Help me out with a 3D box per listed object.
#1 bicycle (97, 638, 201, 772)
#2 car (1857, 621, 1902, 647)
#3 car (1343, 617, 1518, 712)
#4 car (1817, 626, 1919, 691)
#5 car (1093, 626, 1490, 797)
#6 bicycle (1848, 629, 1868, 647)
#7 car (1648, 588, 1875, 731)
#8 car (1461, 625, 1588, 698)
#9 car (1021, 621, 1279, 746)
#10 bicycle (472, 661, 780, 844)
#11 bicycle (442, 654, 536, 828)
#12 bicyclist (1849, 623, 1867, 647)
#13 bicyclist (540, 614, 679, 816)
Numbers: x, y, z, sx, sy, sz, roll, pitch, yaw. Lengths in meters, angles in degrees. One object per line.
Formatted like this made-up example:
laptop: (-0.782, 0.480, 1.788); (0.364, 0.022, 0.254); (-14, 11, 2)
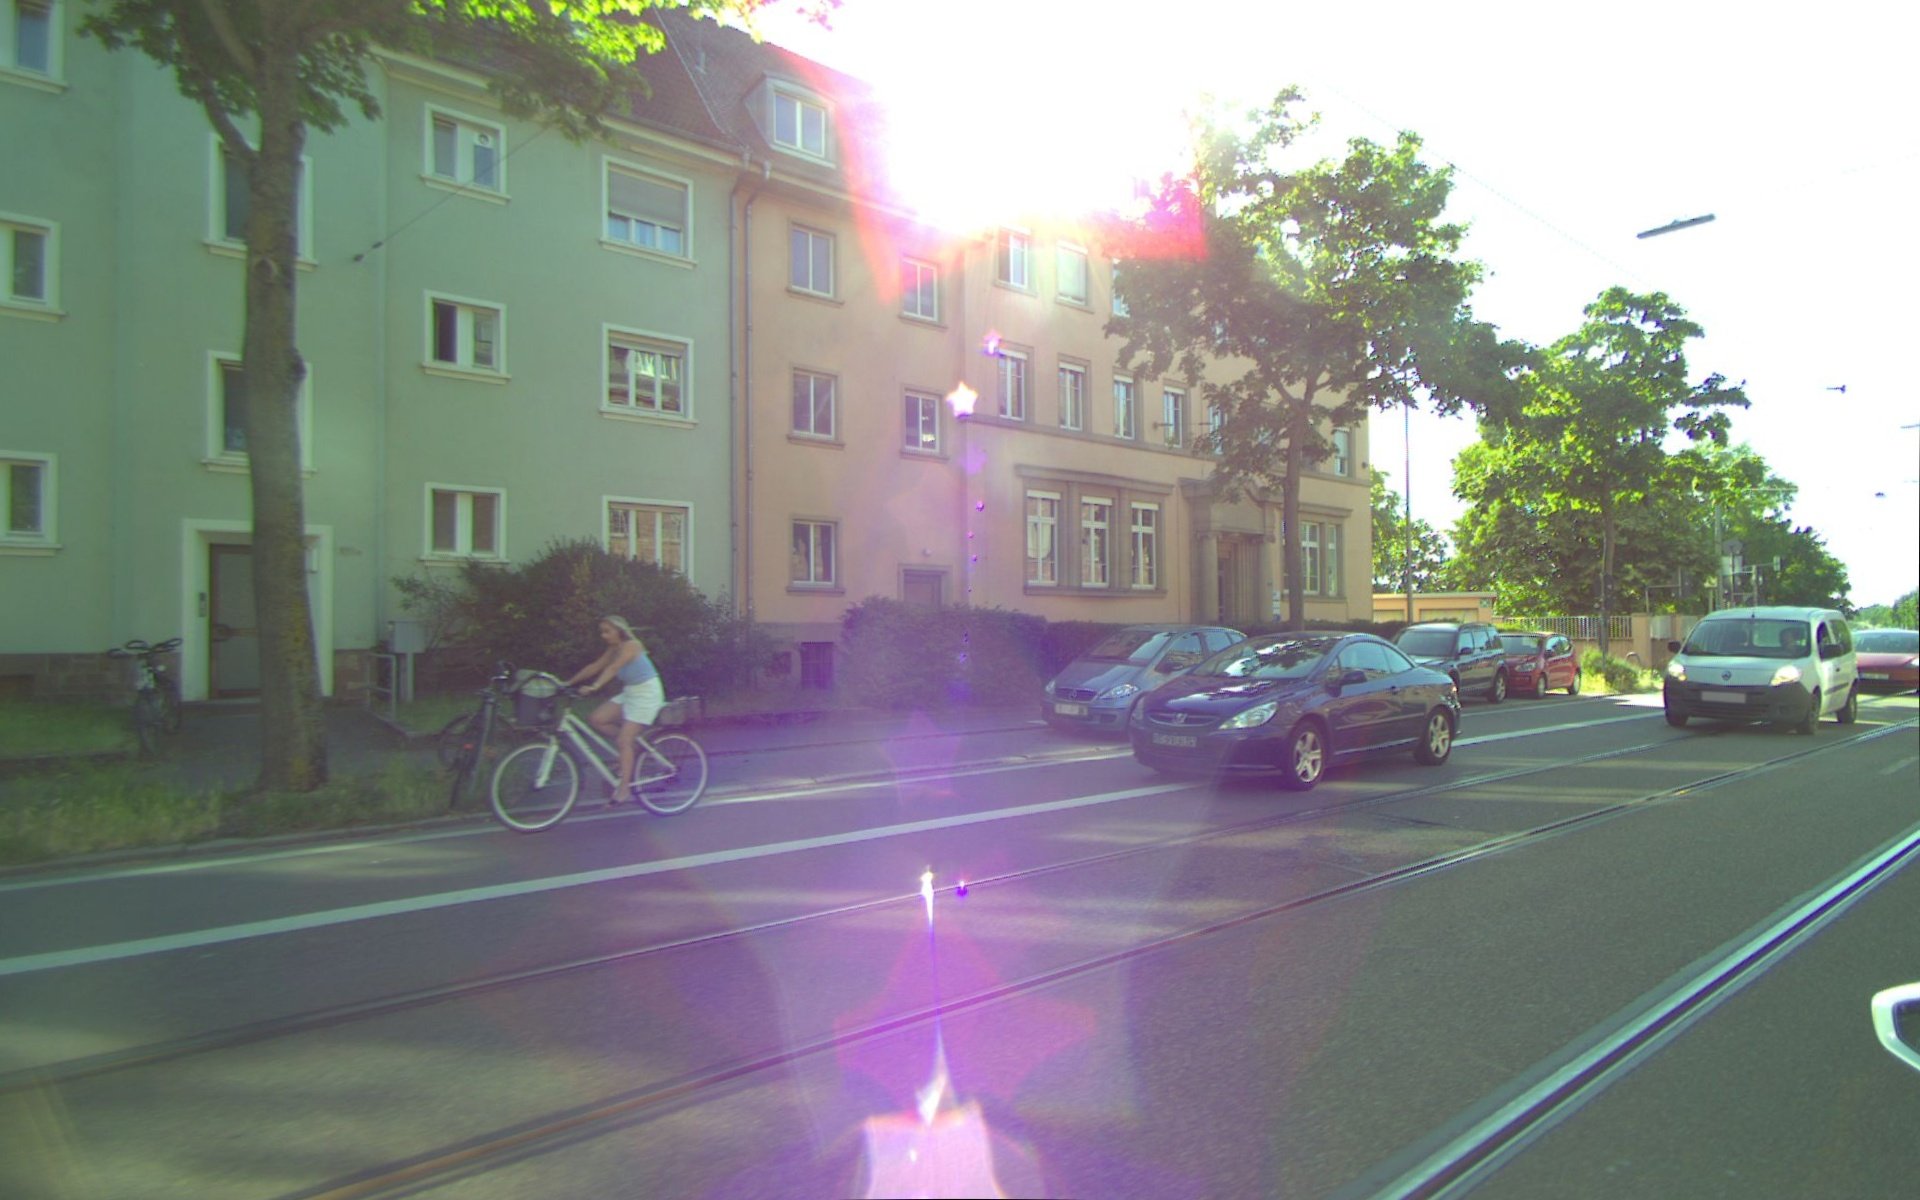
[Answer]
bicycle: (-8.864, 1.080, 11.050); (0.553, 1.214, 2.273); (0, 1, -31)
car: (65.149, 2.393, 71.218); (1.969, 1.783, 3.983); (-1, -2, 38)
car: (9.669, 1.222, 20.491); (4.359, 1.682, 1.729); (1, 0, -43)
car: (22.204, 1.342, 24.097); (4.652, 1.405, 1.904); (1, -2, -42)
car: (3.560, 0.983, 10.404); (4.401, 1.405, 1.796); (1, -2, -39)
bicycle: (57.692, 2.447, 64.520); (0.739, 1.101, 2.169); (-1, -2, 36)
car: (12.476, 0.852, 15.542); (4.401, 1.913, 1.796); (1, -2, -39)
car: (13.267, 1.378, 23.542); (3.587, 1.508, 1.567); (1, 0, -43)
car: (2.973, 1.151, 15.273); (4.038, 1.590, 1.730); (1, 0, -41)
bicycle: (-2.577, 1.133, 7.979); (2.274, 1.213, 0.553); (1, -5, -42)
bicycle: (-4.263, 1.170, 9.010); (0.553, 1.214, 2.273); (0, 1, -31)
bicyclist: (57.693, 2.230, 64.523); (0.740, 1.524, 0.961); (-1, -2, 37)
bicyclist: (-2.745, 0.869, 7.866); (0.863, 1.475, 0.553); (1, -5, -41)
